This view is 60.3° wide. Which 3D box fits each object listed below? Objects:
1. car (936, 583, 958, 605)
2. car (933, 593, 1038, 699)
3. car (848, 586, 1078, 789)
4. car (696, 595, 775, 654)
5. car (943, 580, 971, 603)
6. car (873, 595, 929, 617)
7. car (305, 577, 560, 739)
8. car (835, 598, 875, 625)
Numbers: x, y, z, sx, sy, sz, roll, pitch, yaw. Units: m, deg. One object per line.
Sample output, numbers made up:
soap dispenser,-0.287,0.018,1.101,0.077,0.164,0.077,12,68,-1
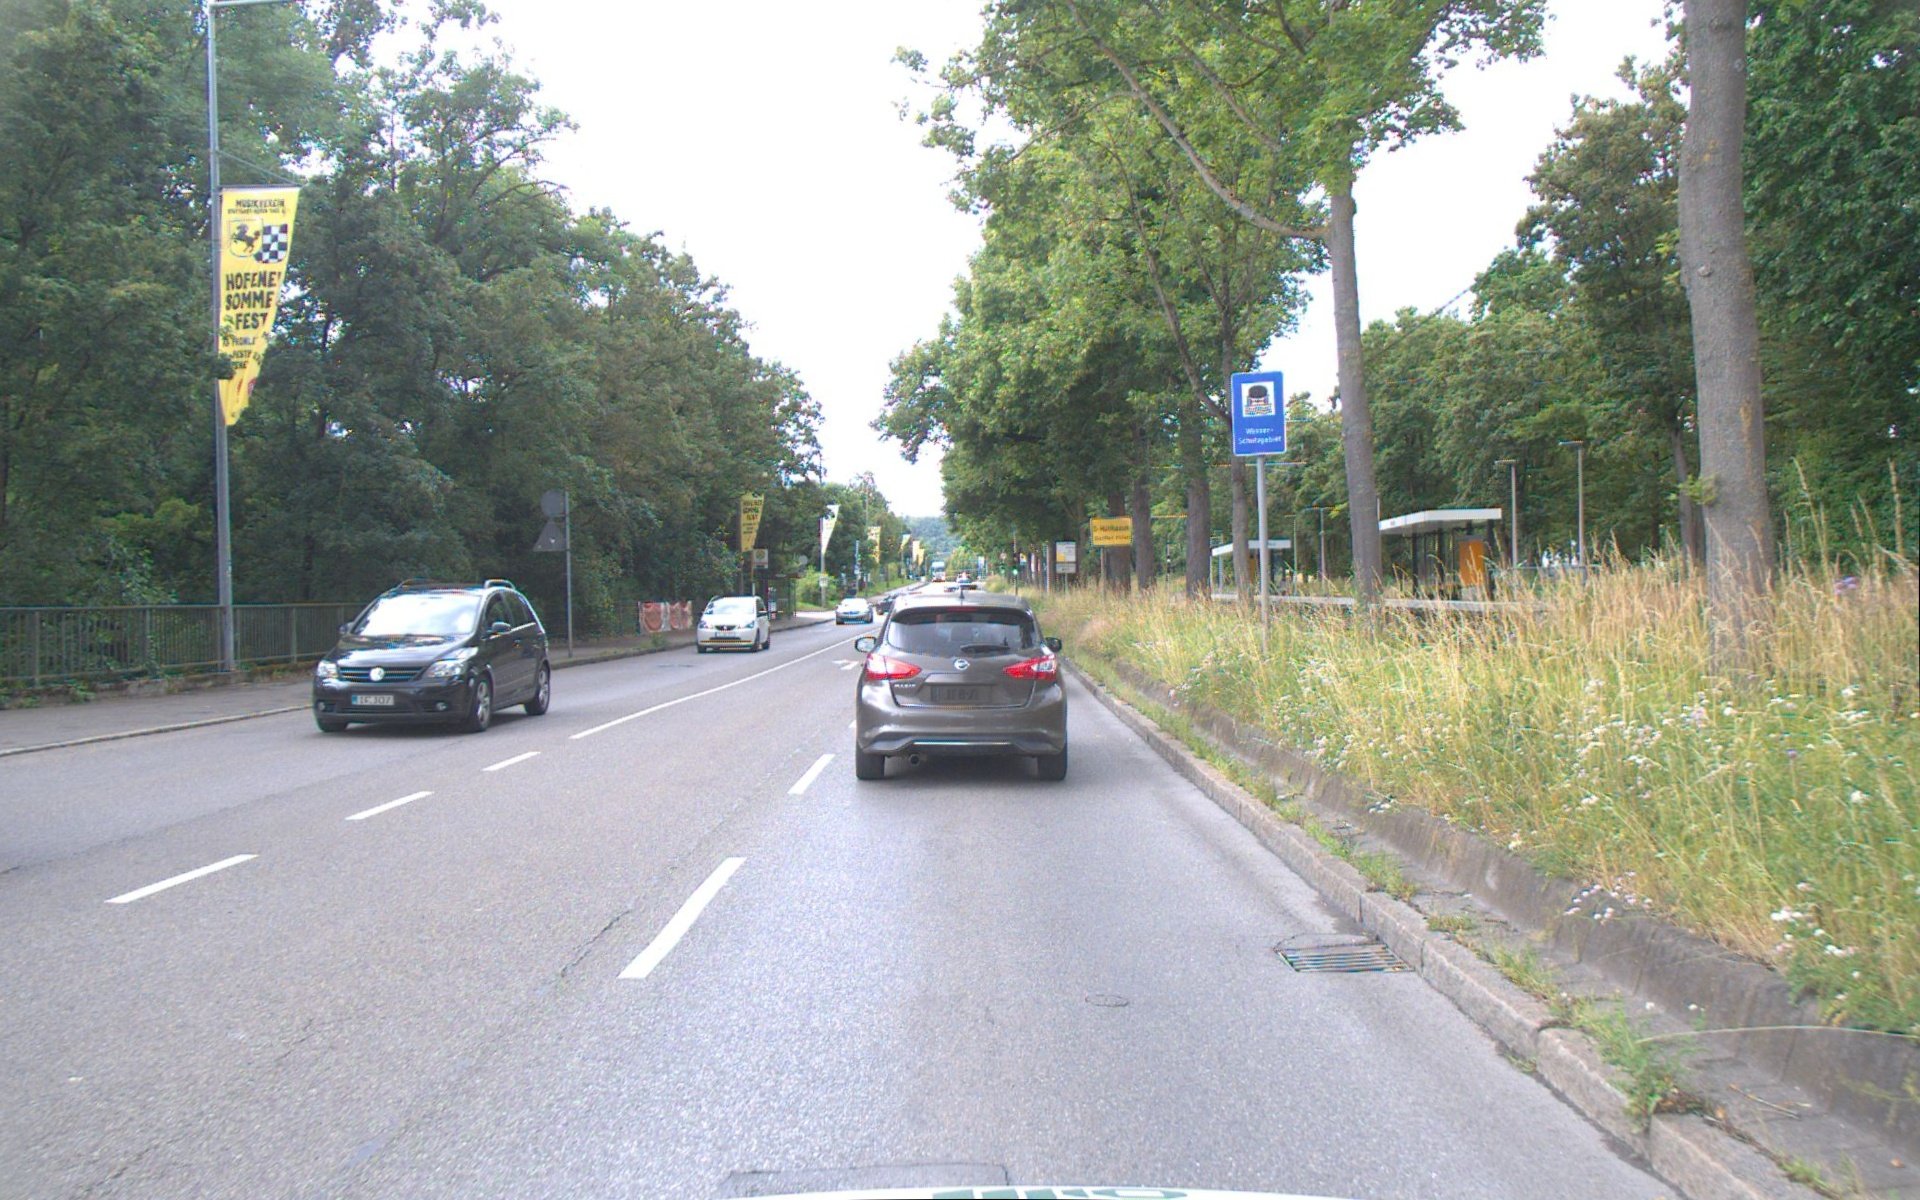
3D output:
car,-1.273,-0.539,160.166,1.953,2.049,3.998,1,0,-2
car,0.368,0.643,25.136,1.471,1.466,3.541,-1,0,0
car,0.051,0.674,14.560,1.747,1.533,3.696,-1,0,1
car,-6.019,0.637,44.683,1.548,1.491,3.696,-1,0,1
car,-0.206,-0.614,120.868,1.953,1.601,4.000,1,0,0
car,-3.776,0.396,105.423,1.746,1.360,3.646,-1,0,-38
car,-5.805,0.588,18.693,1.685,1.635,4.012,0,0,-1
car,-5.398,0.576,85.291,1.722,1.360,3.696,-1,0,1
